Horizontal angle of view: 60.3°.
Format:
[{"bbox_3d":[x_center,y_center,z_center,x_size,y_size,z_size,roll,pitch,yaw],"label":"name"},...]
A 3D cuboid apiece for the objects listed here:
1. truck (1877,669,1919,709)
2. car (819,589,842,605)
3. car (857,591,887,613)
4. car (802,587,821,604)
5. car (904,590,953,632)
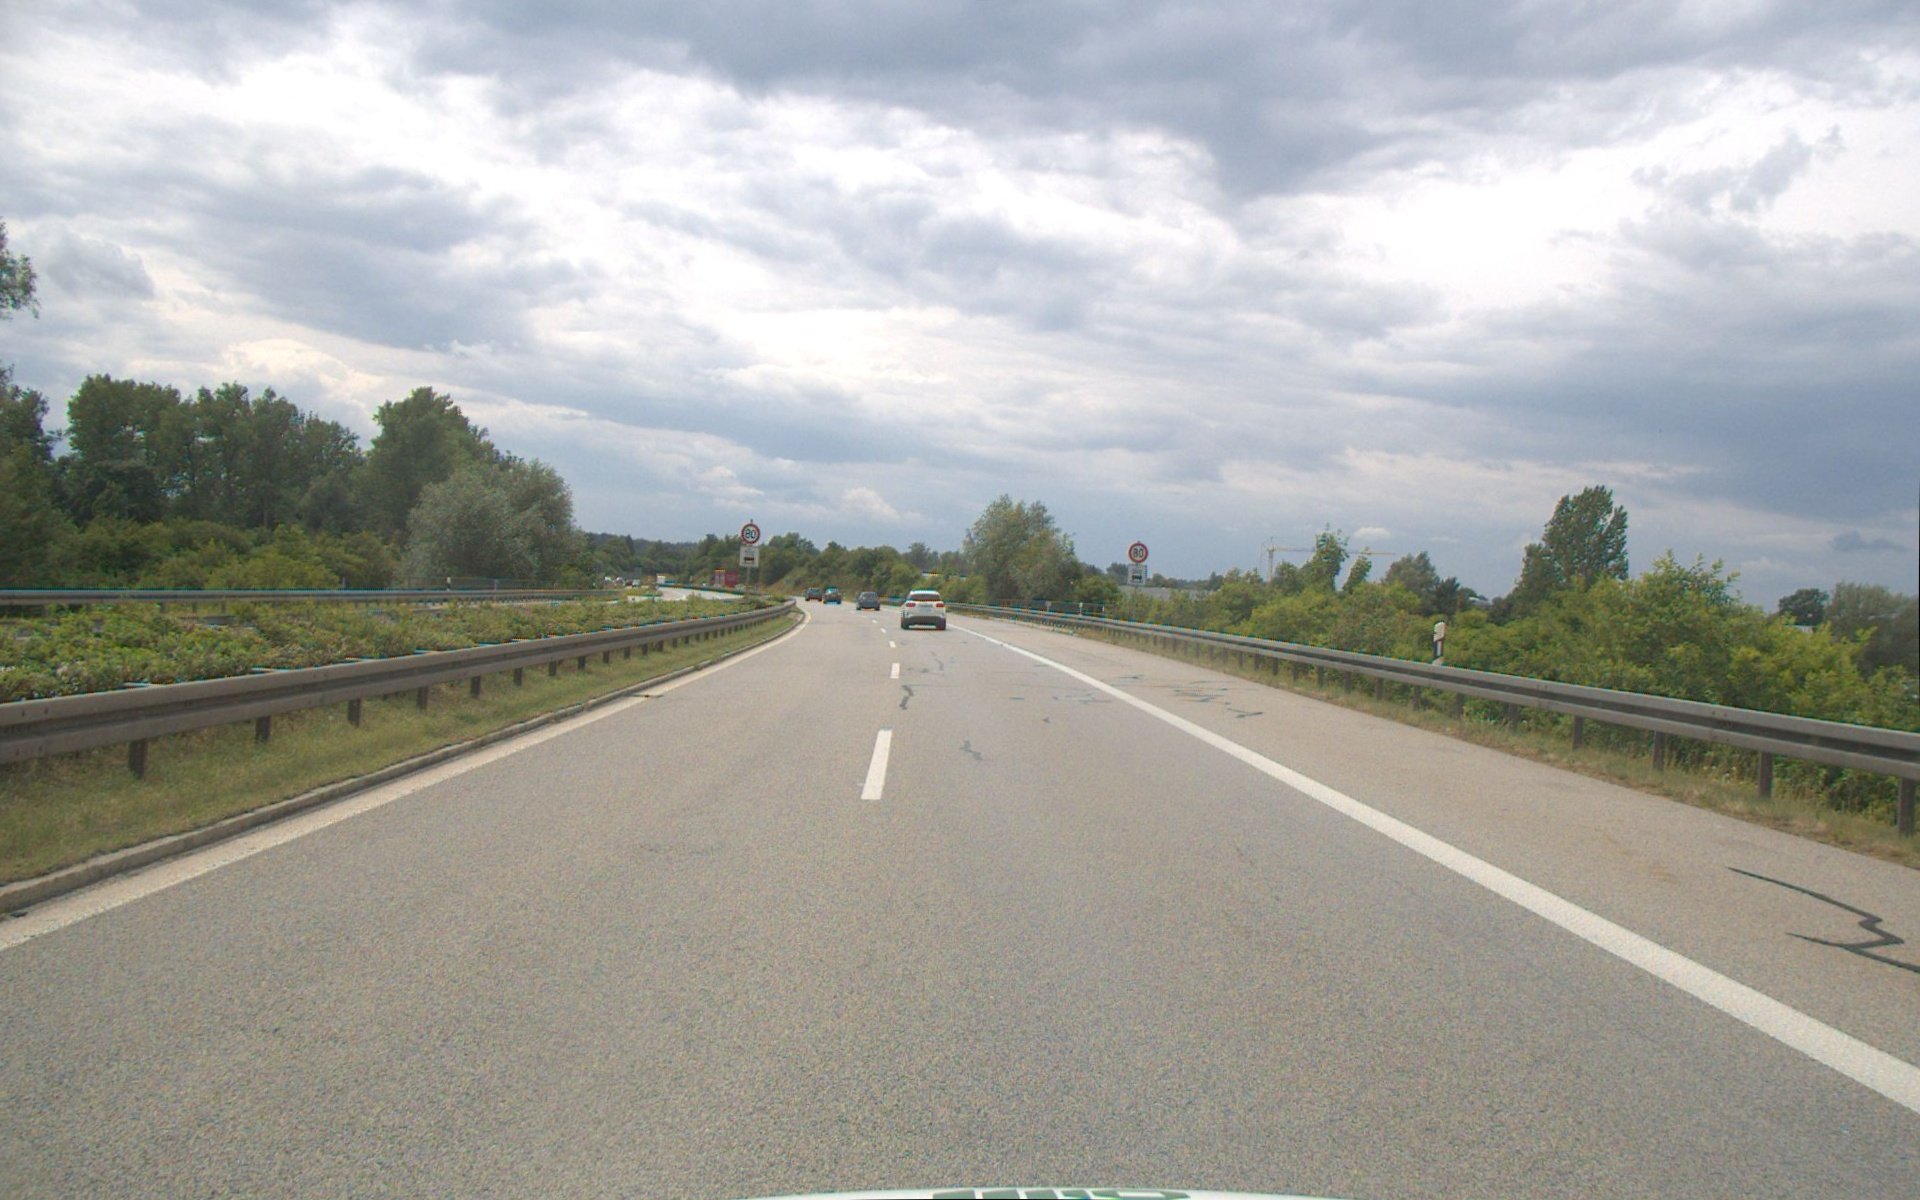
[{"bbox_3d":[106.178,10.047,183.642,1.979,3.795,7.222,3,3,-38],"label":"truck"},{"bbox_3d":[-13.879,-0.322,176.609,1.868,1.668,4.767,2,0,-11],"label":"car"},{"bbox_3d":[-7.083,0.142,132.683,1.858,1.668,4.611,1,0,-10],"label":"car"},{"bbox_3d":[-18.107,-0.565,201.828,1.794,1.825,4.402,3,0,-11],"label":"car"},{"bbox_3d":[-1.407,0.455,71.622,1.865,1.668,4.393,3,0,-4],"label":"car"}]
